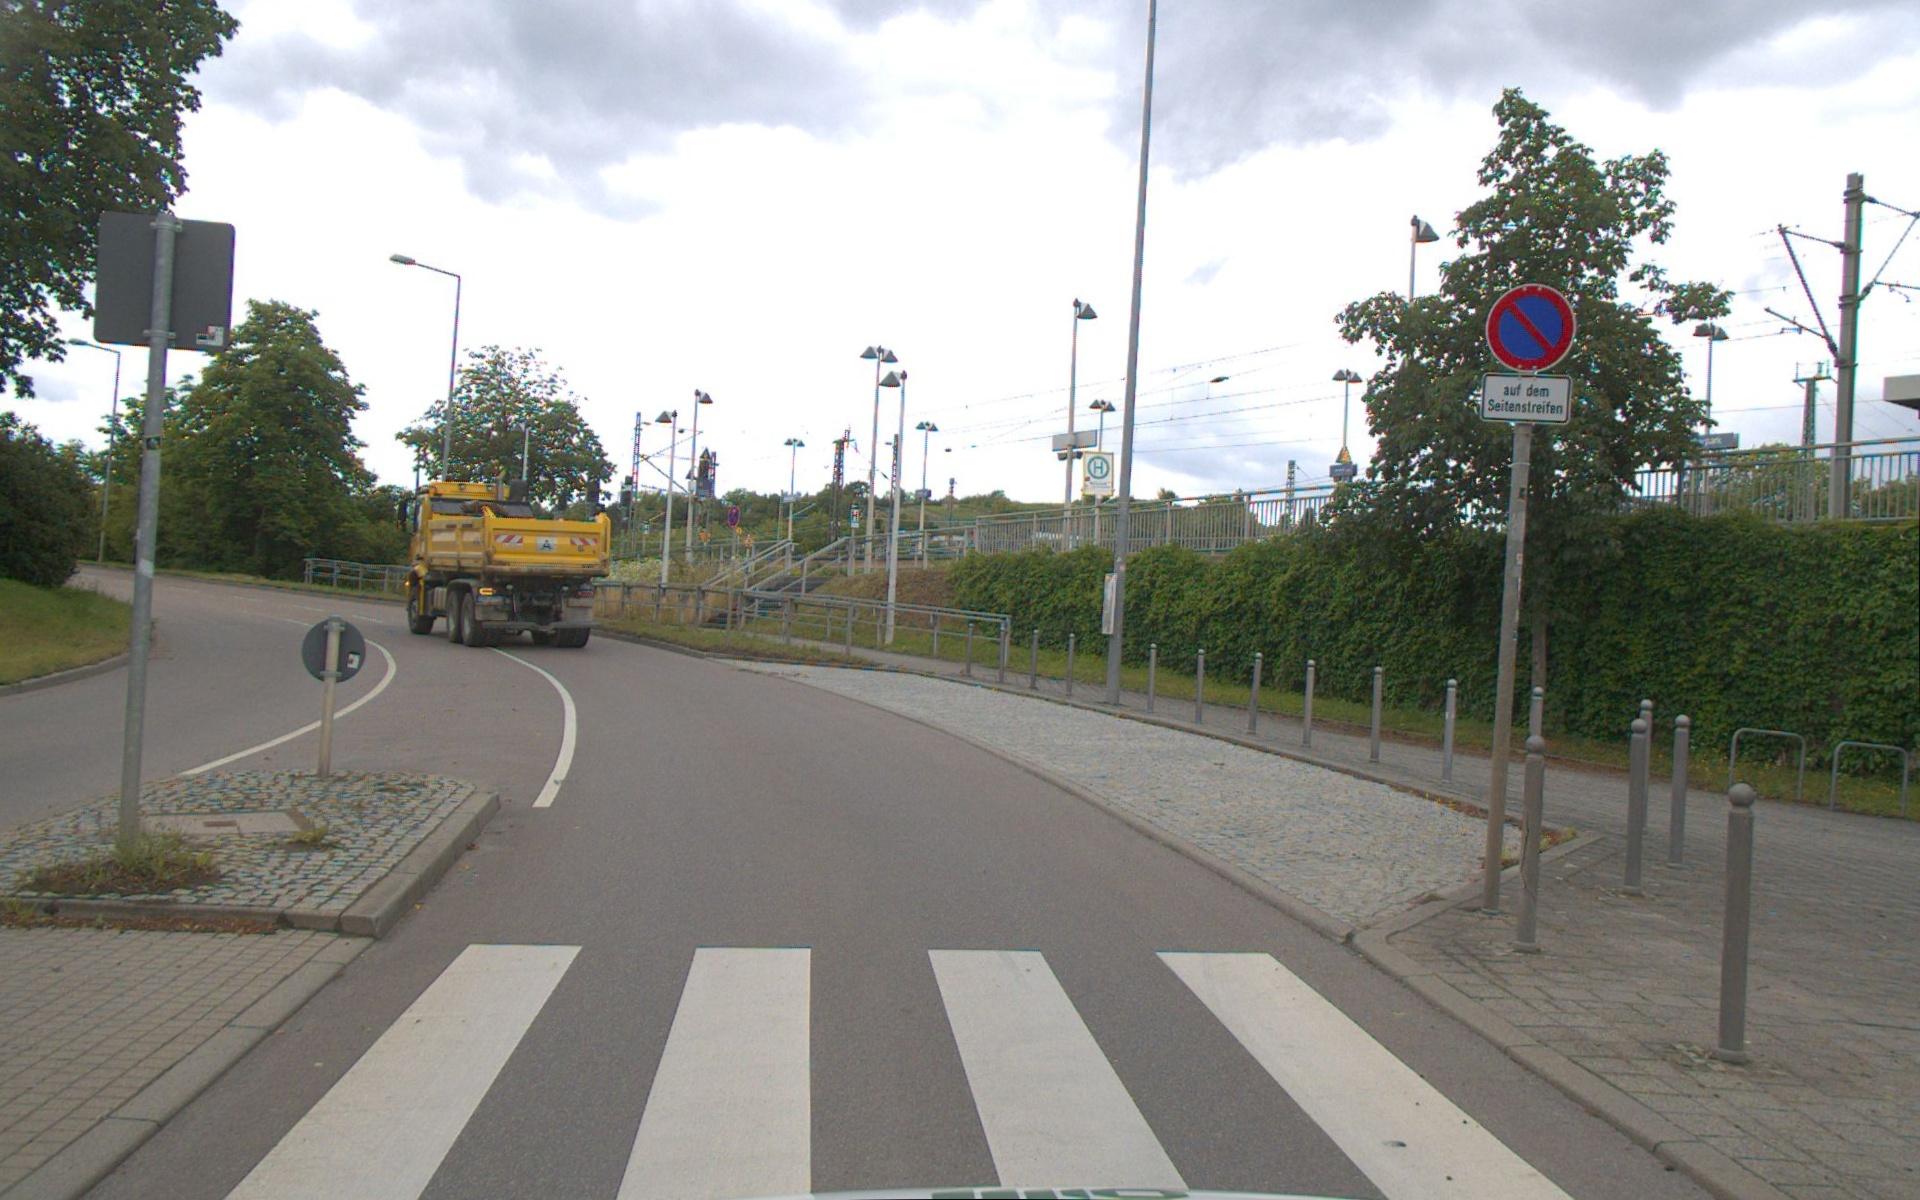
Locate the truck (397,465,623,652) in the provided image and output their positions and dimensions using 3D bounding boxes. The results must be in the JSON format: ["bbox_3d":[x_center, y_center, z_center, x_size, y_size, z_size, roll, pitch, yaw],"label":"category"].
[{"bbox_3d":[-9.963,-0.957,35.939,2.735,3.544,8.050,2,1,-30],"label":"truck"}]
